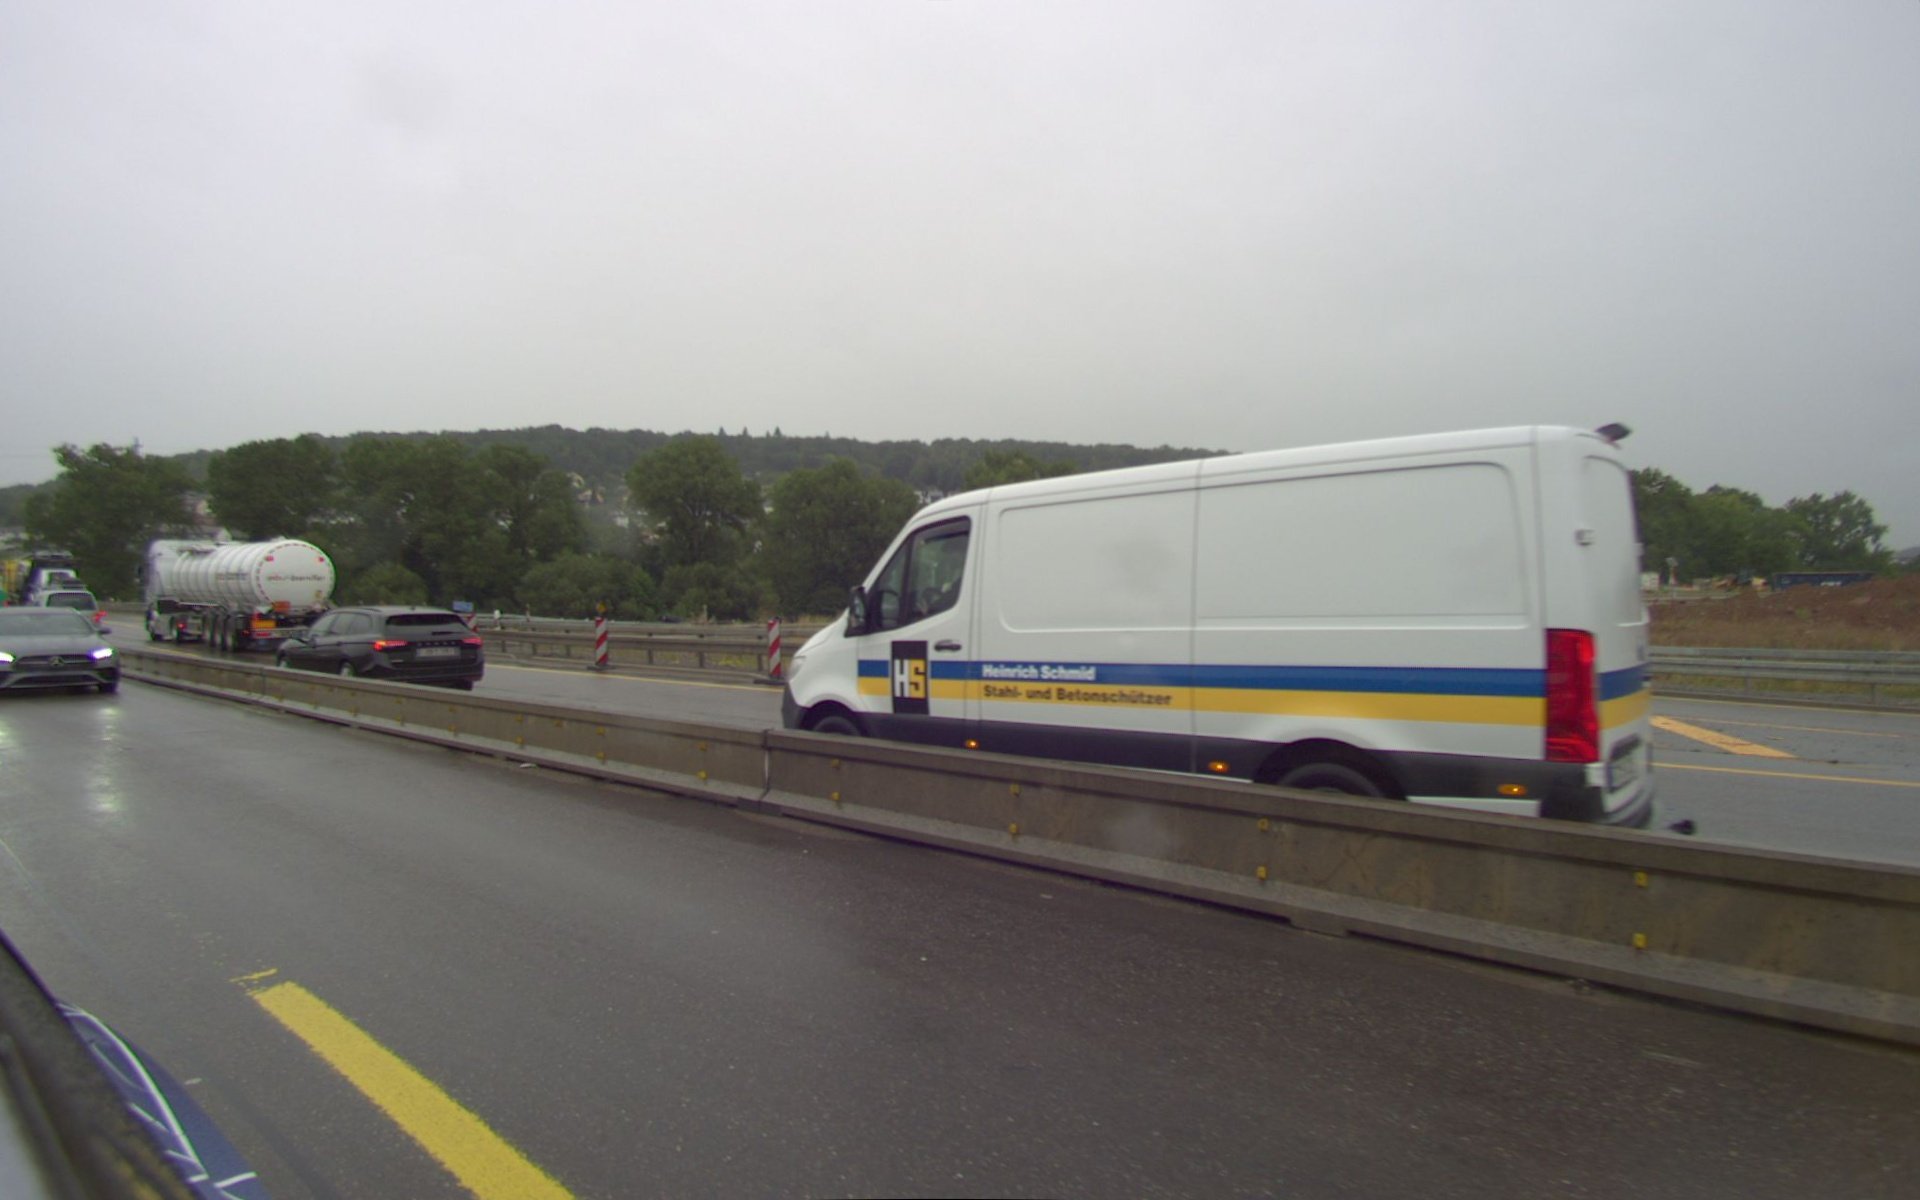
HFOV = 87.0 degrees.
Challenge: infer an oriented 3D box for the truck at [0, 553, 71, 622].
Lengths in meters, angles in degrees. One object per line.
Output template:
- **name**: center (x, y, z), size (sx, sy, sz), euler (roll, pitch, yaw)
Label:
- **truck**: center (-58.062, -0.753, 63.486), size (6.145, 4.093, 2.721), euler (0, 0, 41)

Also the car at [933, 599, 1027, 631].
- **car**: center (1.128, 0.791, 55.829), size (4.960, 1.713, 1.856), euler (0, 0, -33)

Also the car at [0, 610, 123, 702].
- **car**: center (-16.596, 0.929, 18.060), size (4.482, 1.449, 1.926), euler (-1, -1, 42)

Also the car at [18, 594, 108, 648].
- **car**: center (-31.852, 0.693, 35.894), size (4.160, 1.813, 1.846), euler (0, 0, 41)

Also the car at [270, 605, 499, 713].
- **car**: center (-9.397, 0.848, 16.362), size (4.676, 1.516, 1.754), euler (-1, -1, 41)

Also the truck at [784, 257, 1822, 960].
- **truck**: center (1.590, 0.020, 6.476), size (5.958, 2.595, 2.057), euler (0, 0, 41)

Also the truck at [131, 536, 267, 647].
- **truck**: center (-27.811, -0.288, 36.879), size (6.591, 3.705, 2.593), euler (0, 0, 41)

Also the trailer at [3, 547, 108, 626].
- **trailer**: center (-52.647, -0.732, 58.684), size (15.352, 4.073, 2.720), euler (0, 0, 41)

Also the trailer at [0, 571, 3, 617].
- **trailer**: center (-88.152, -0.535, 90.588), size (9.815, 3.993, 2.658), euler (0, -1, 41)

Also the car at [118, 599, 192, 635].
- **car**: center (-48.548, 1.003, 61.040), size (4.828, 2.078, 2.049), euler (0, 0, 32)

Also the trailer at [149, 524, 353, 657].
- **trailer**: center (-23.580, -0.270, 33.239), size (11.996, 3.705, 2.593), euler (0, 0, 41)

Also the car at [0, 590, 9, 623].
- **car**: center (-53.823, 0.360, 55.518), size (4.685, 1.772, 1.973), euler (0, 0, 41)
